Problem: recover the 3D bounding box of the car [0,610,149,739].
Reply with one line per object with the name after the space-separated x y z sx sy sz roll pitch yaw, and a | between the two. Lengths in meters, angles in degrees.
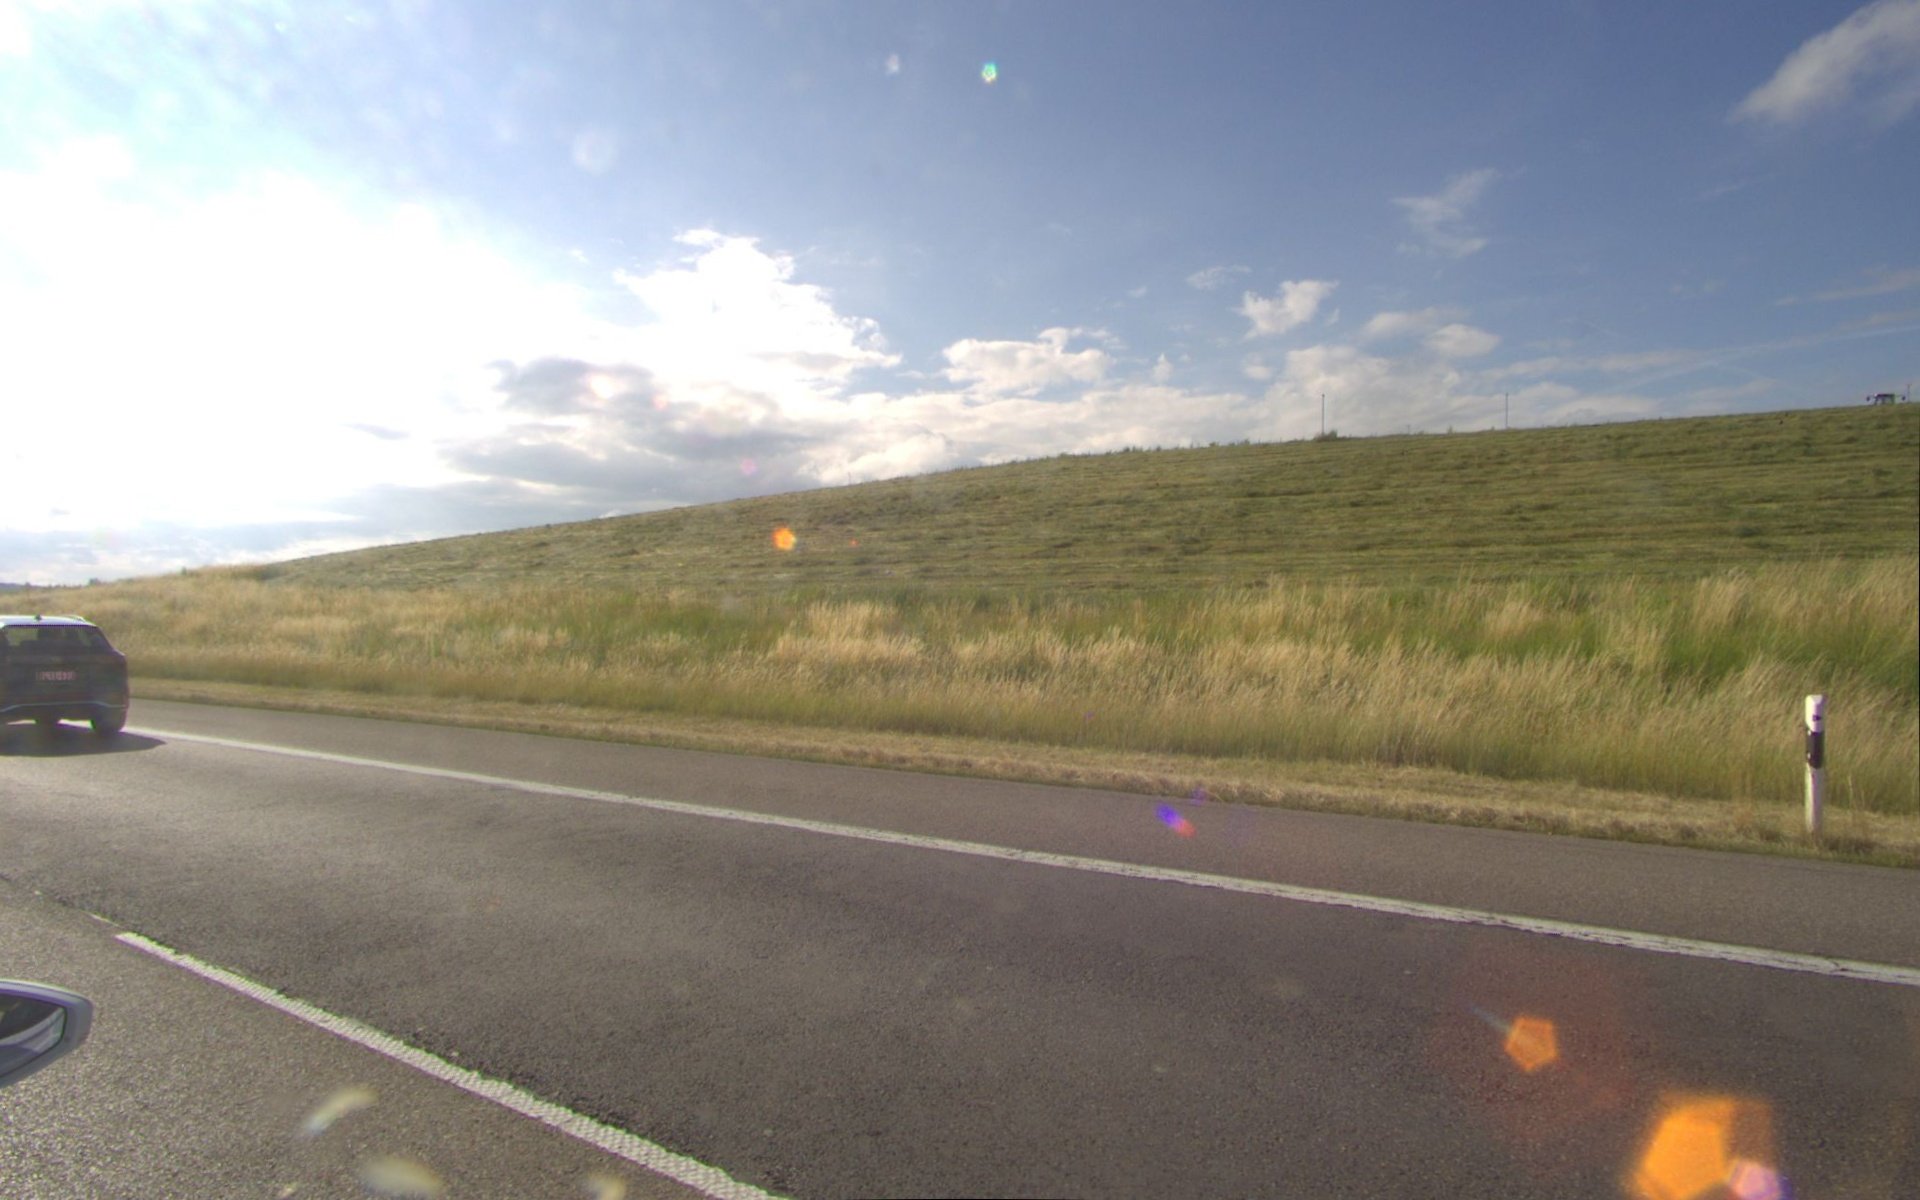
-13.515 0.995 14.237 4.174 1.621 1.818 -1 -3 32 | car
